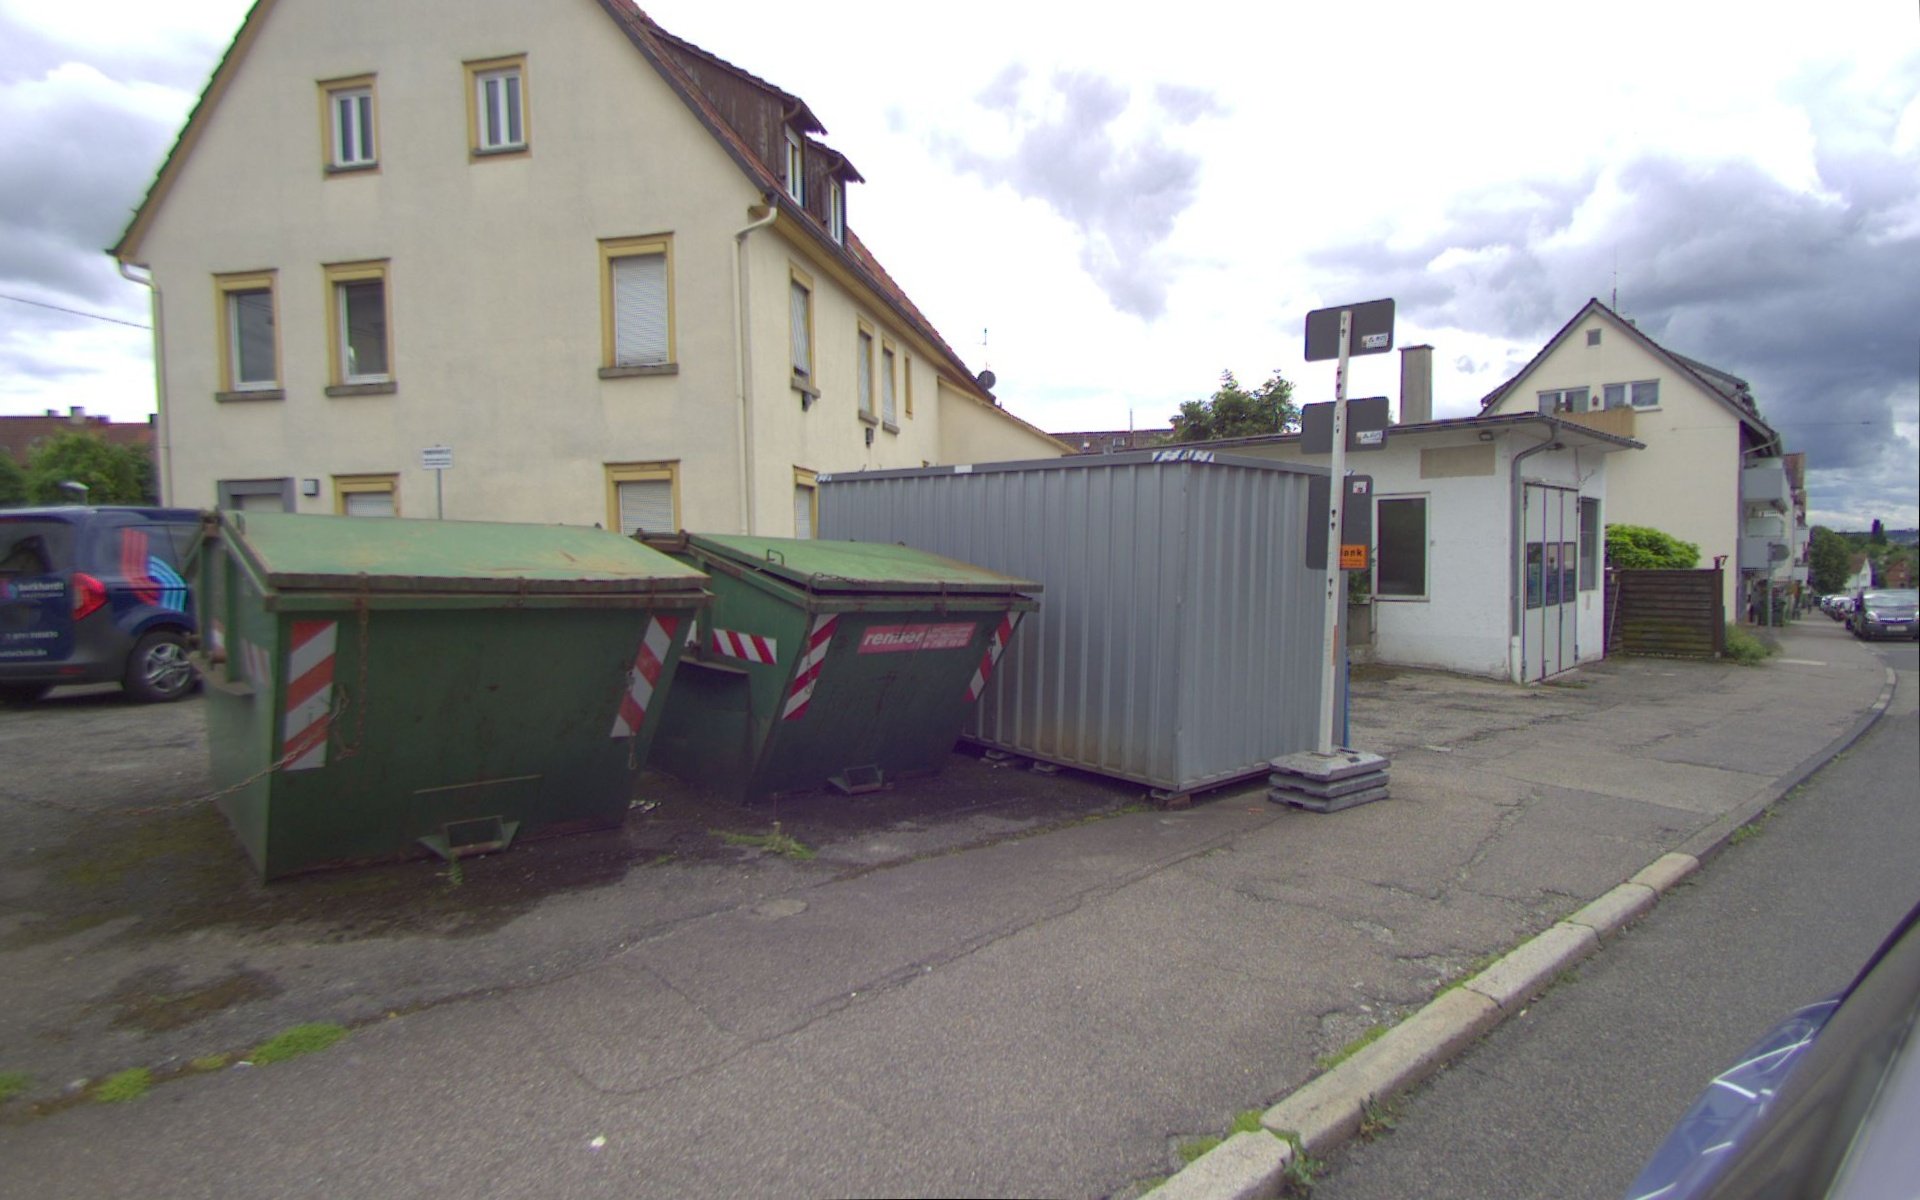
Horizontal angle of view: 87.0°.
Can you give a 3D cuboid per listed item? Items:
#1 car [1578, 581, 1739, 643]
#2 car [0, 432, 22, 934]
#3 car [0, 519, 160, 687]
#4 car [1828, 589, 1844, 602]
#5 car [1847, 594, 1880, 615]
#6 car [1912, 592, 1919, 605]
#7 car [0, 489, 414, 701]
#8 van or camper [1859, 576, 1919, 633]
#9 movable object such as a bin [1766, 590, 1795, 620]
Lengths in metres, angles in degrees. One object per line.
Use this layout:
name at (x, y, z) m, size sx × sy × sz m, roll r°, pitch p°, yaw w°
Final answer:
car at (19.055, 0.289, 27.772) m, size 3.285 × 1.538 × 1.692 m, roll 2°, pitch 1°, yaw 22°
car at (-5.436, 0.263, 2.442) m, size 1.745 × 1.761 × 4.504 m, roll 4°, pitch 3°, yaw 41°
car at (-11.532, 0.048, 10.544) m, size 1.876 × 1.825 × 4.868 m, roll -1°, pitch 0°, yaw 16°
car at (121.568, -0.599, 140.492) m, size 1.607 × 1.822 × 3.803 m, roll -1°, pitch 0°, yaw 40°
car at (64.068, 0.319, 71.827) m, size 1.607 × 1.473 × 3.803 m, roll -1°, pitch 0°, yaw 40°
car at (122.949, -0.127, 129.294) m, size 1.701 × 1.551 × 3.681 m, roll 5°, pitch 4°, yaw 40°
car at (-7.912, -0.032, 10.512) m, size 1.840 × 1.750 × 3.986 m, roll -1°, pitch 0°, yaw 12°
van or camper at (35.437, 0.148, 38.184) m, size 1.990 × 2.039 × 4.991 m, roll -2°, pitch -1°, yaw 40°
movable object such as a bin at (40.699, 0.228, 50.209) m, size 1.078 × 1.455 × 1.241 m, roll -1°, pitch -1°, yaw 41°
